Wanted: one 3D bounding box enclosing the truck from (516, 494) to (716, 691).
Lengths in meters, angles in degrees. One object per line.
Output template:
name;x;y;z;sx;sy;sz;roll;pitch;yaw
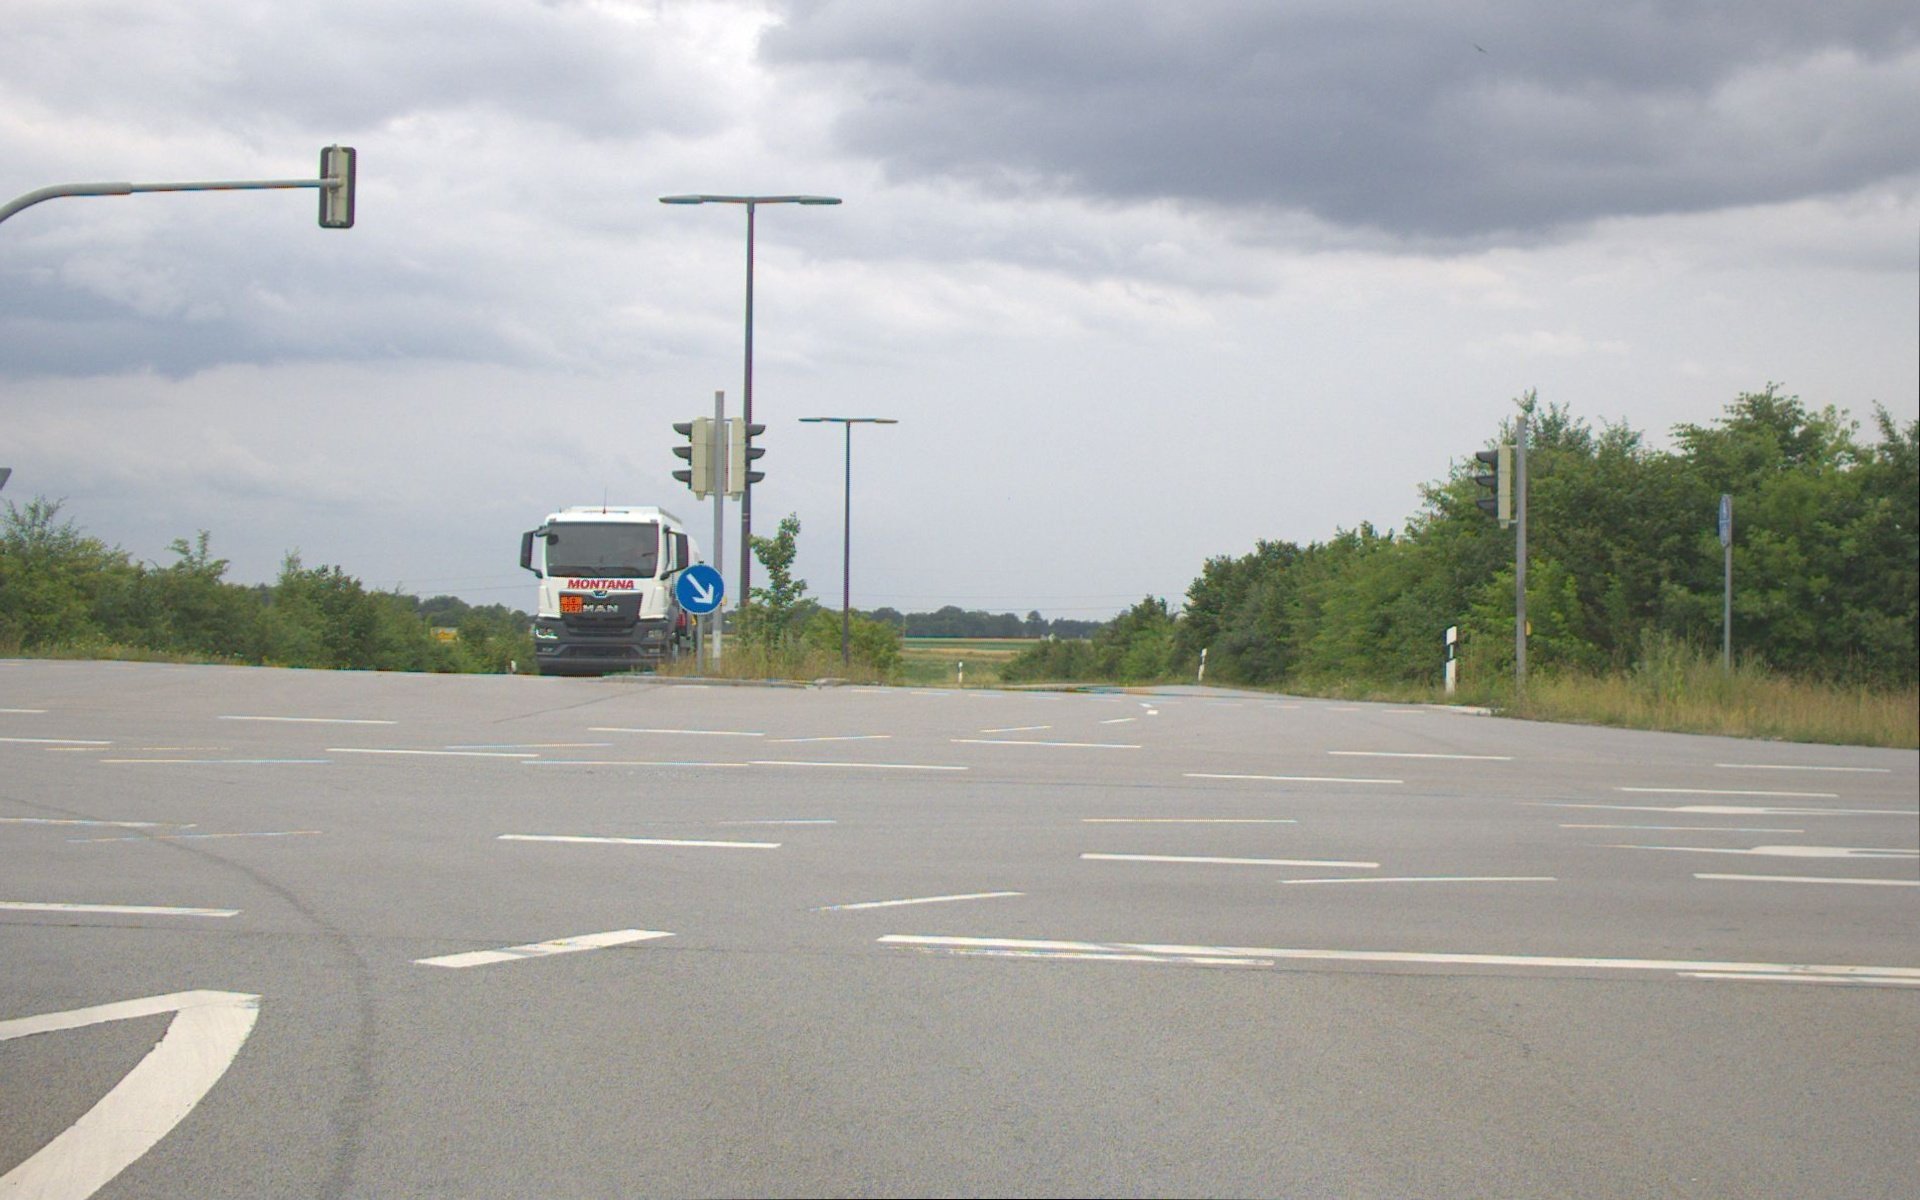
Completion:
truck;-6.302;-0.052;64.237;2.869;3.397;8.650;1;-1;0
